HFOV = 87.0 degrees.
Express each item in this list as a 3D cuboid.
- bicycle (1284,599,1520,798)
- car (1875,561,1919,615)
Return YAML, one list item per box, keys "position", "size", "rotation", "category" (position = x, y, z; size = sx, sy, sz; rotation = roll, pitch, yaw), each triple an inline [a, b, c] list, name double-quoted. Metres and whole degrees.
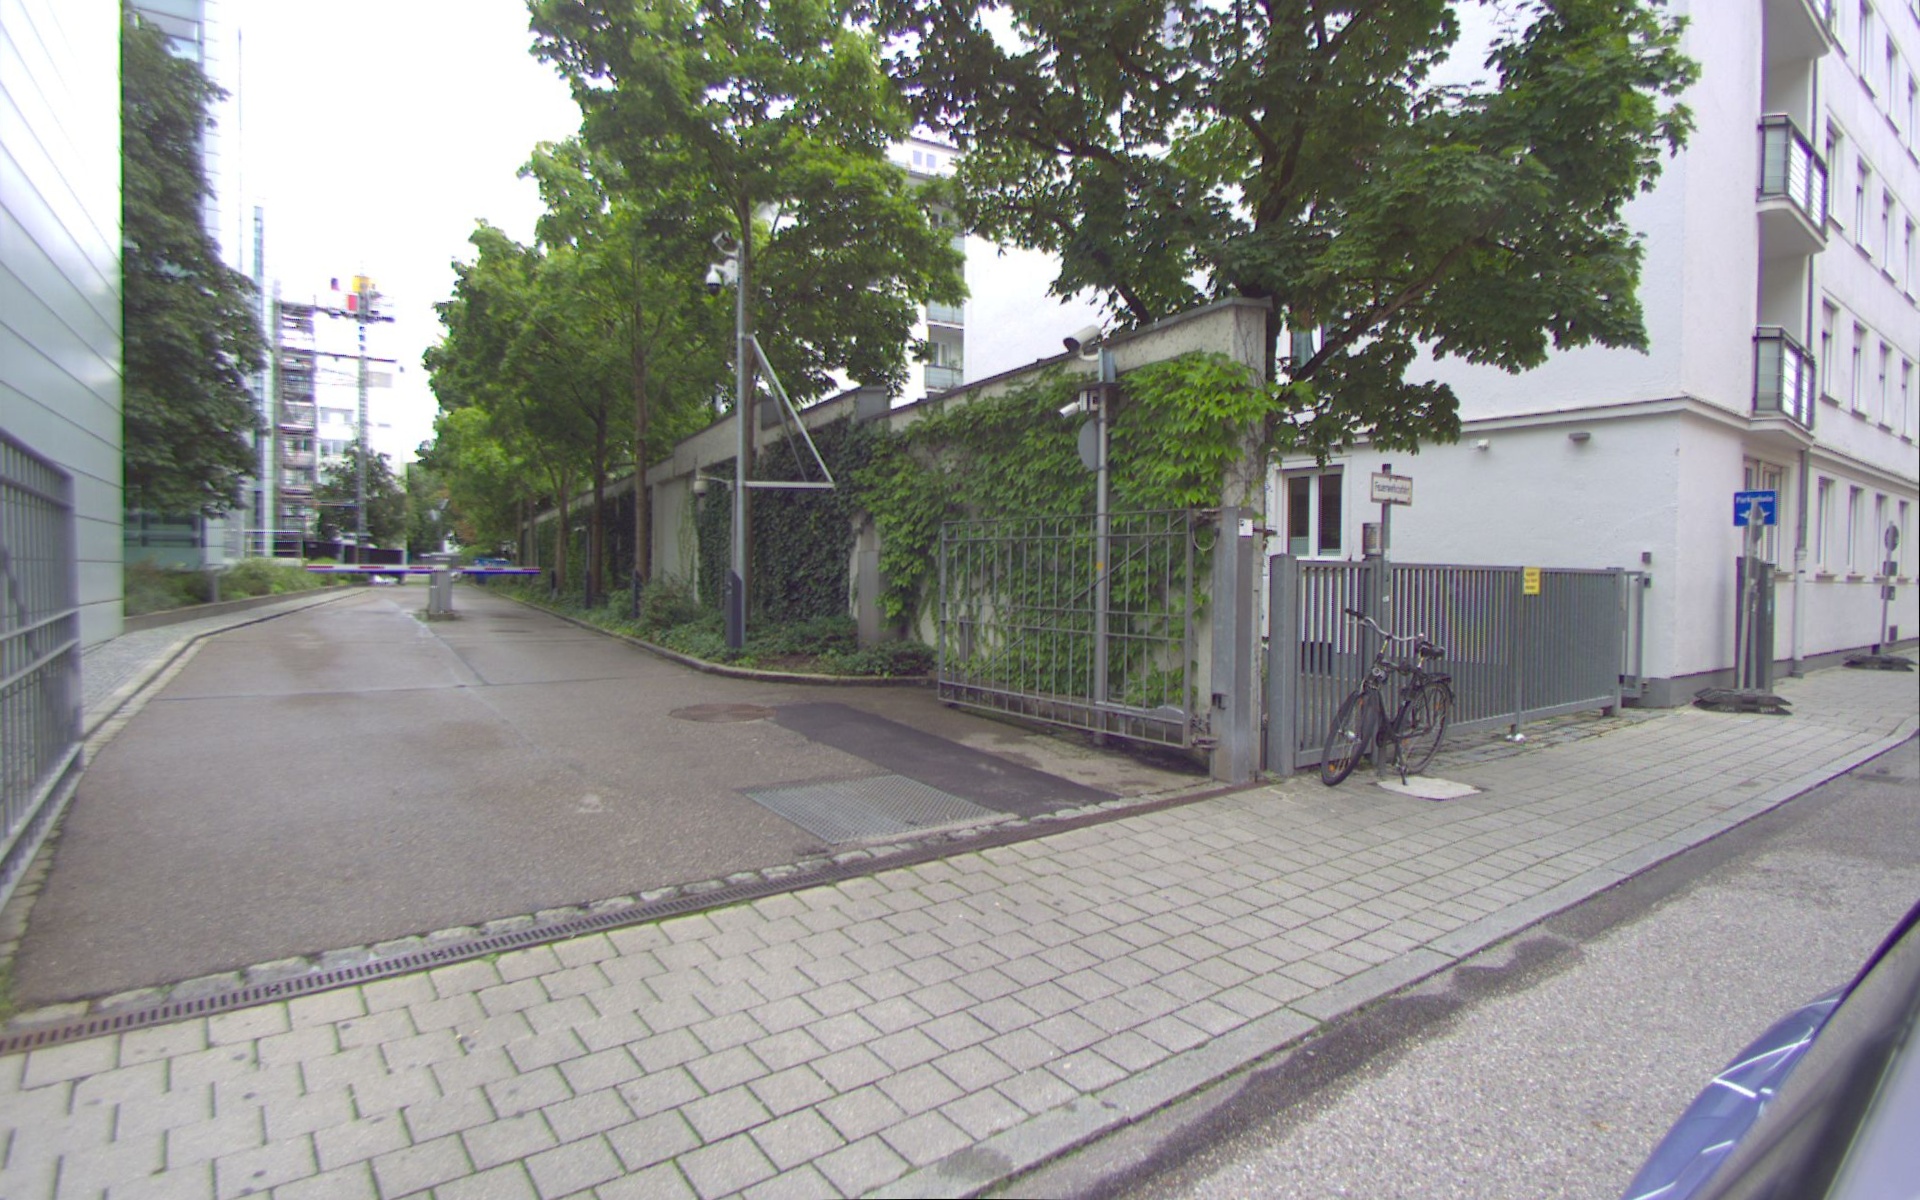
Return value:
- position: [3.135, 0.643, 7.105]
  size: [1.799, 1.213, 0.709]
  rotation: [3, 0, -38]
  category: "bicycle"
- position: [35.323, -0.386, 35.290]
  size: [1.895, 1.914, 4.689]
  rotation: [0, 2, -30]
  category: "car"
